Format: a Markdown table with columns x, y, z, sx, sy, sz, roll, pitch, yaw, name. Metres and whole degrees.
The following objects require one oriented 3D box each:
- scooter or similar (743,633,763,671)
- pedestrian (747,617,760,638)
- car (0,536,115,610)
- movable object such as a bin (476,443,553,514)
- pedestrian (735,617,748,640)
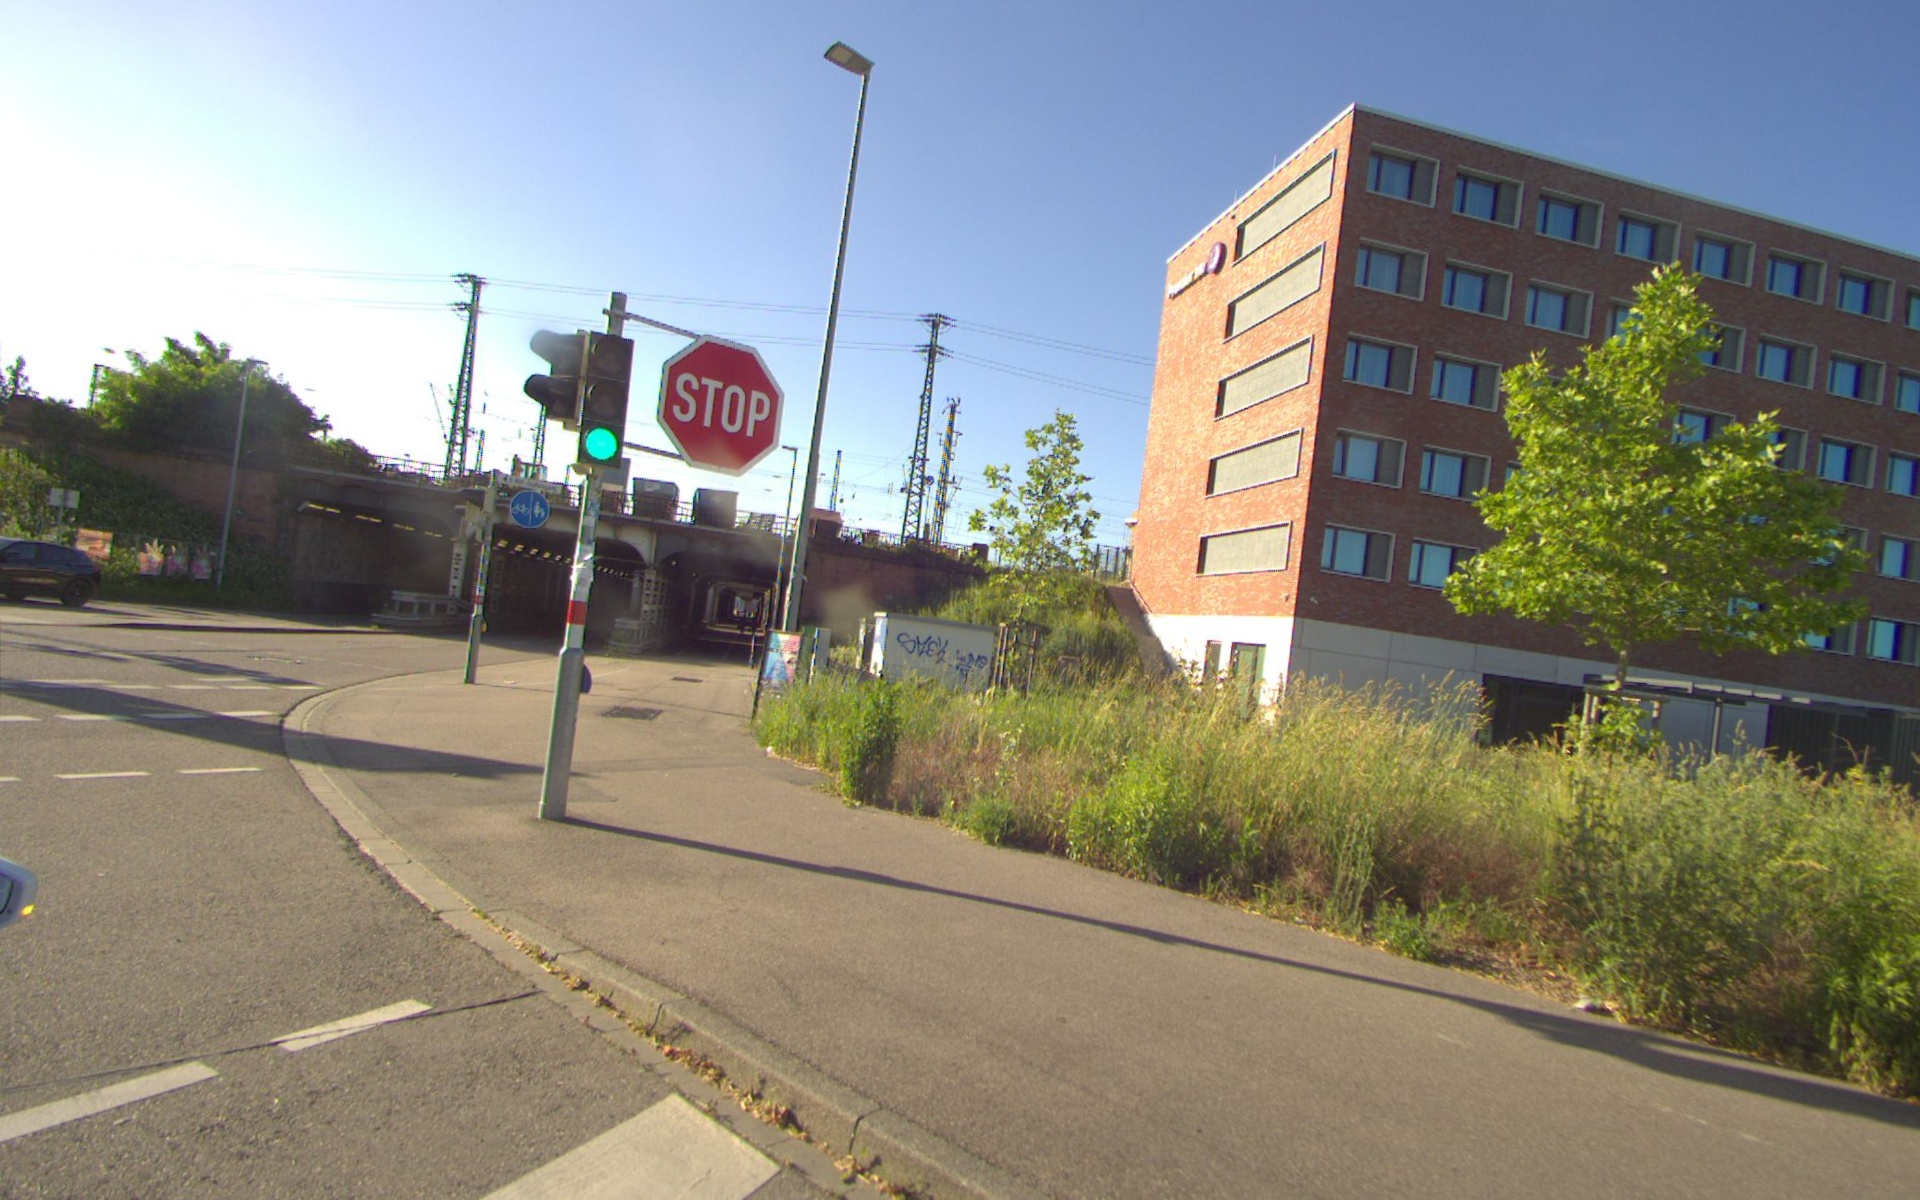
| x | y | z | sx | sy | sz | roll | pitch | yaw | name |
| --- | --- | --- | --- | --- | --- | --- | --- | --- | --- |
| -7.159 | 1.792 | 34.789 | 0.530 | 1.210 | 1.289 | 8 | -3 | -11 | scooter or similar |
| -17.274 | 2.300 | 84.191 | 0.904 | 1.676 | 0.884 | 5 | -1 | -15 | pedestrian |
| -22.999 | -0.763 | 23.863 | 1.920 | 1.534 | 4.394 | 7 | -3 | 2 | car |
| -20.744 | -5.590 | 47.065 | 1.967 | 2.250 | 4.827 | 8 | -4 | -11 | movable object such as a bin |
| -18.213 | 2.370 | 83.974 | 0.869 | 1.857 | 0.920 | 5 | -1 | -15 | pedestrian |
